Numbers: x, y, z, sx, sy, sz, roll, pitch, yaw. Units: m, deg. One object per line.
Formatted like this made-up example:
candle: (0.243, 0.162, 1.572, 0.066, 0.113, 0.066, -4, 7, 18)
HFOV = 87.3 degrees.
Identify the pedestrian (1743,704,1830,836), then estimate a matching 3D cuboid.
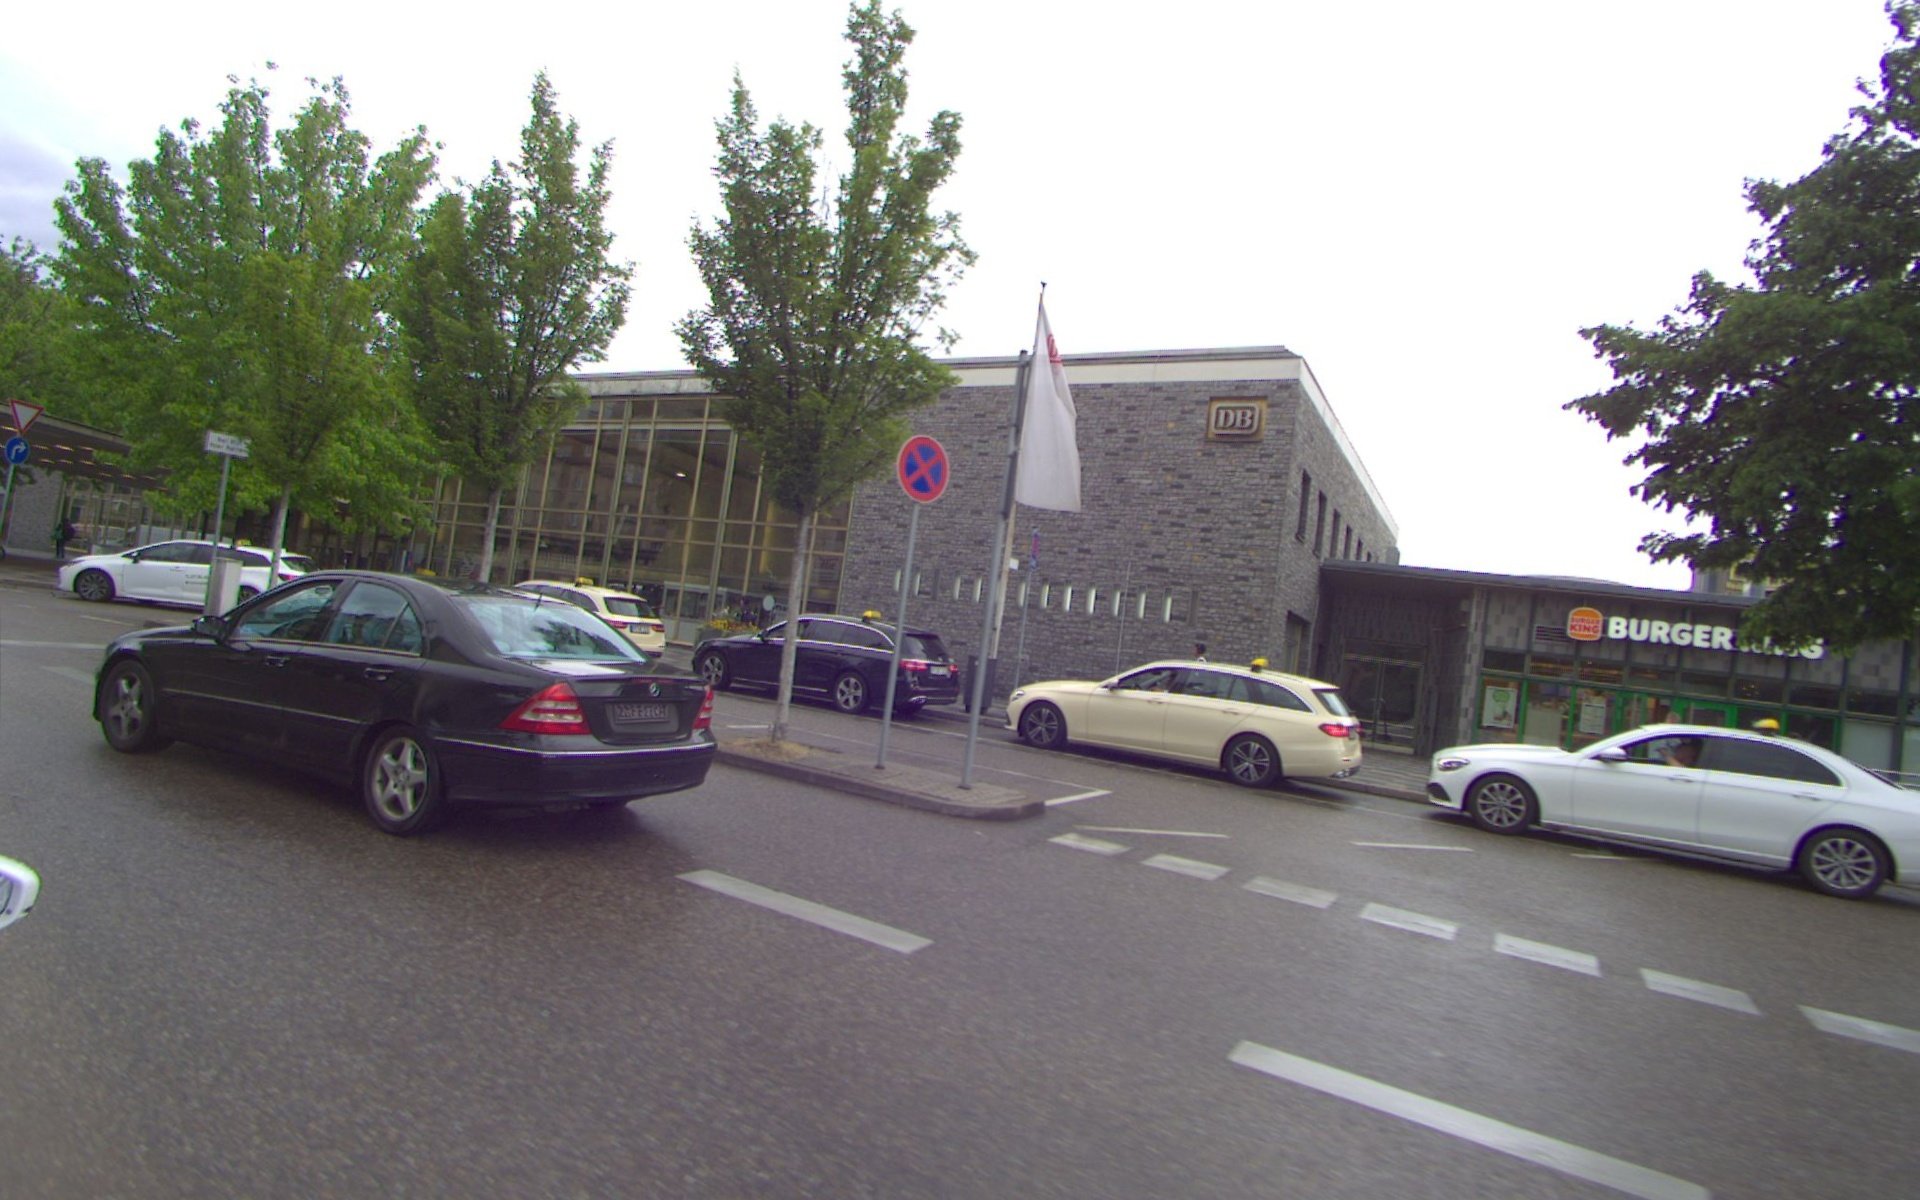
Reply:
pedestrian: (14.923, 3.048, 18.185, 0.709, 2.191, 0.797, 6, 0, 0)

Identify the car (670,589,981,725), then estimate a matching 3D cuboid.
car: (-2.325, 0.938, 17.034, 4.874, 1.617, 1.998, 6, -2, 30)

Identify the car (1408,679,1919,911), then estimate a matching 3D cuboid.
car: (7.750, 1.973, 11.091, 4.822, 1.619, 1.882, 5, -1, 31)

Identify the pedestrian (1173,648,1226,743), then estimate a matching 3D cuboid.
pedestrian: (4.572, 1.809, 19.250, 0.762, 1.687, 0.646, 7, 0, 9)

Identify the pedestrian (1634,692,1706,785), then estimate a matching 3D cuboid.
pedestrian: (13.410, 2.596, 19.016, 0.697, 1.599, 0.771, 6, 0, 7)

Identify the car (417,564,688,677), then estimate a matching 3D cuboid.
car: (-8.046, 0.402, 19.859, 4.868, 1.619, 1.999, 6, -1, 23)

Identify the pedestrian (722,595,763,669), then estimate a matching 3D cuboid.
pedestrian: (-5.128, 0.755, 23.680, 0.784, 1.646, 0.721, 6, 0, -13)

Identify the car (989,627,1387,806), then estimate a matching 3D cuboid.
car: (3.075, 1.479, 13.936, 4.876, 1.619, 1.996, 6, -1, 31)

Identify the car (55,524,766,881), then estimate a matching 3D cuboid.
car: (-3.630, 0.482, 6.549, 4.372, 1.483, 1.699, 6, -1, 25)

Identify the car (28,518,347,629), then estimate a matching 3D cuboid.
car: (-15.335, -0.470, 20.232, 4.695, 1.563, 1.762, 7, -2, -9)

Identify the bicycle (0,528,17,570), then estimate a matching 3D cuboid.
bicycle: (-25.539, -1.412, 25.837, 0.413, 1.068, 1.831, 6, -2, 31)

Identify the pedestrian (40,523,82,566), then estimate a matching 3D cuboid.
pedestrian: (-35.682, -2.200, 39.938, 0.799, 1.578, 0.867, 6, 0, 24)
